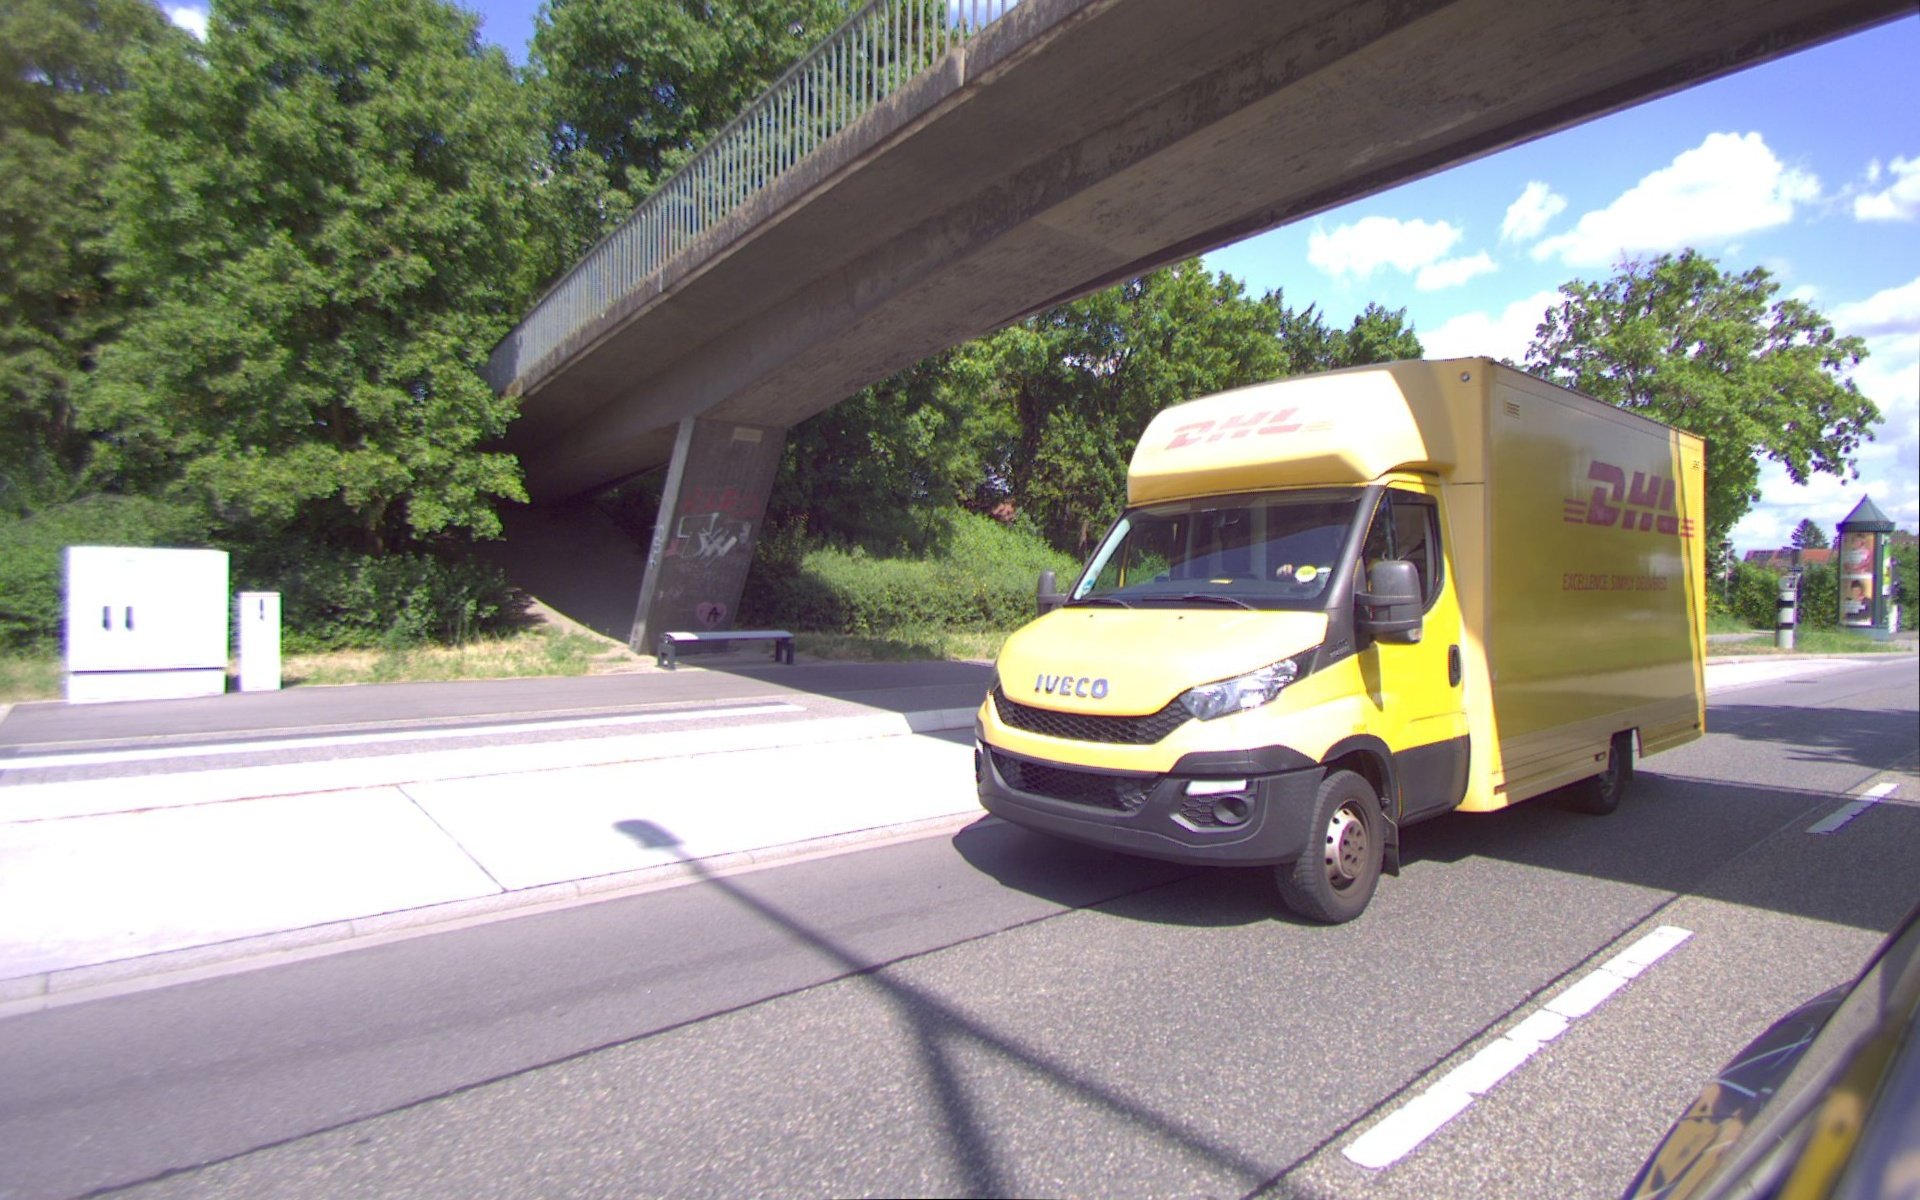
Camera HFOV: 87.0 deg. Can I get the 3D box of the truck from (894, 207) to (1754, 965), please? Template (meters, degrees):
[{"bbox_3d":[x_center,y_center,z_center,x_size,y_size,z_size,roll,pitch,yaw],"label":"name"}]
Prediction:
[{"bbox_3d":[3.358,-0.038,7.337,7.886,2.917,2.269,1,-1,-41],"label":"truck"}]
